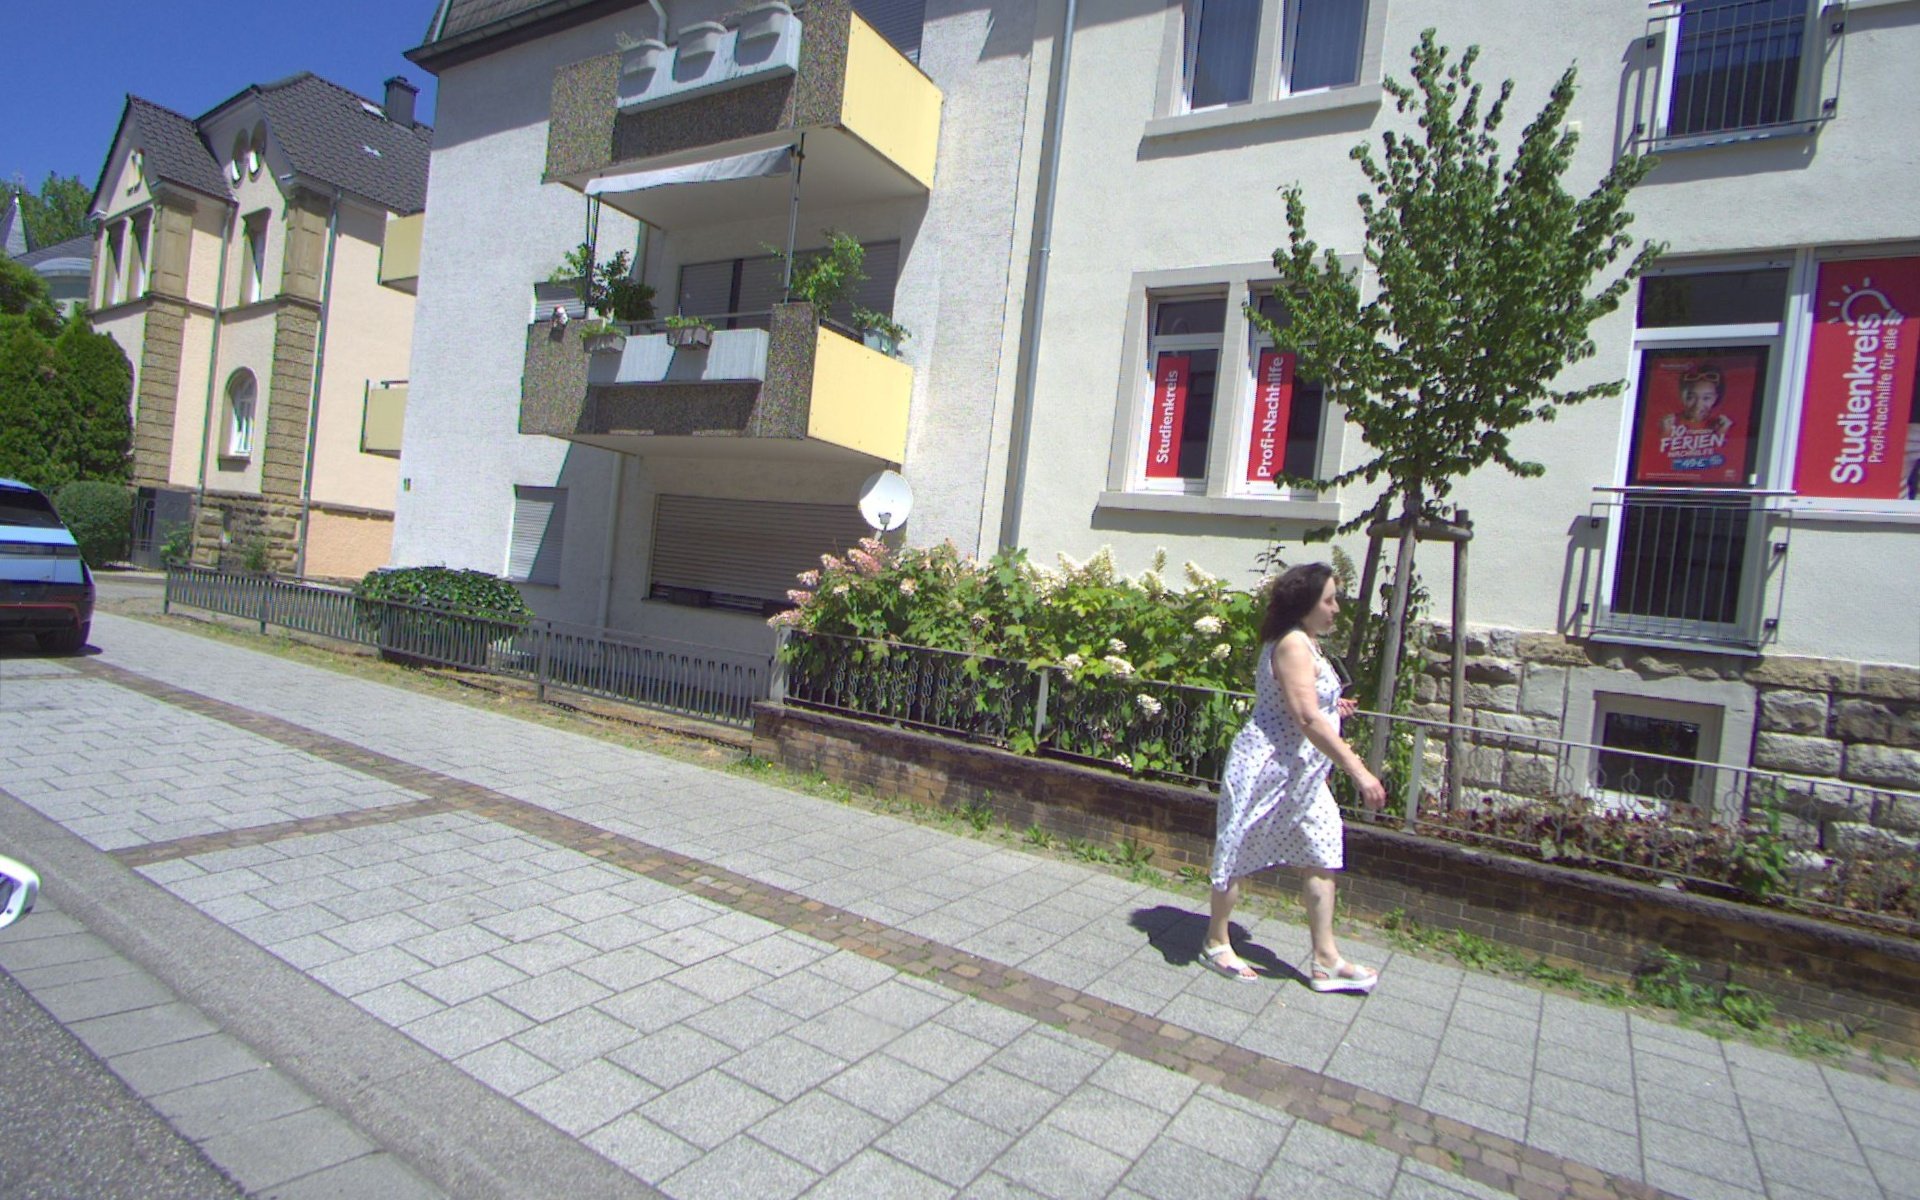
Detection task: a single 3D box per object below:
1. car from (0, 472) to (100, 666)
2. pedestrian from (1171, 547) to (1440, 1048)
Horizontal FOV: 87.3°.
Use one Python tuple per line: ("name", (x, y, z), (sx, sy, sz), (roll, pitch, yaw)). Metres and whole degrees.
("car", (-10.064, -0.472, 9.455), (4.355, 1.641, 1.843), (6, 2, 33))
("pedestrian", (1.362, 0.684, 3.934), (0.694, 1.692, 0.740), (7, 3, 31))
